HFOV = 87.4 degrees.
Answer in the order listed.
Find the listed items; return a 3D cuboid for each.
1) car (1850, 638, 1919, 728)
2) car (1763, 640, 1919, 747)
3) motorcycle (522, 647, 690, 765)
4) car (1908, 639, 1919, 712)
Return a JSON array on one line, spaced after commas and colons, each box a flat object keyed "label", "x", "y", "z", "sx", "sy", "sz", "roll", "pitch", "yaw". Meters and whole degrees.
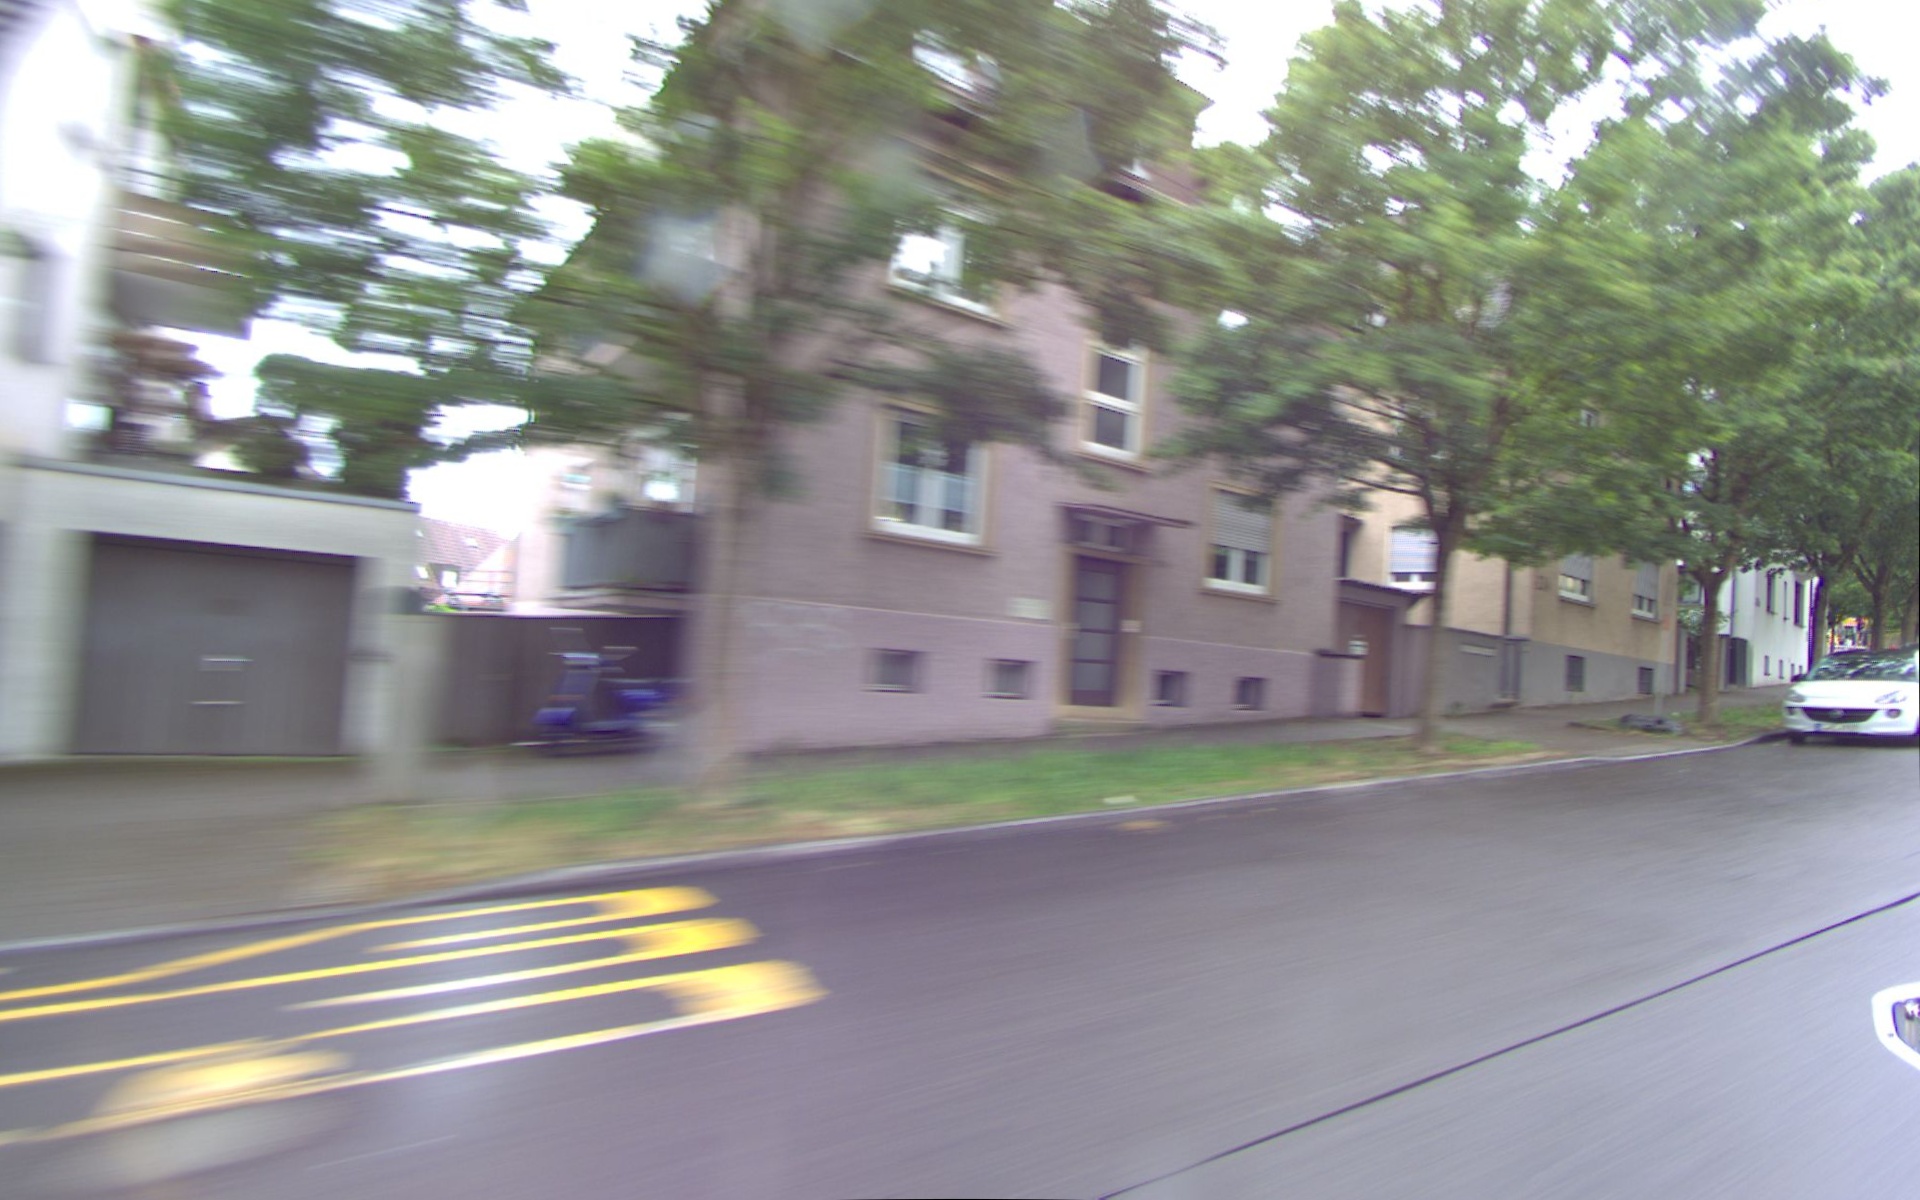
[{"label": "car", "x": 18.816, "y": 1.562, "z": 19.334, "sx": 3.966, "sy": 1.617, "sz": 1.863, "roll": 2, "pitch": -3, "yaw": -39}, {"label": "car", "x": 14.929, "y": 1.450, "z": 16.445, "sx": 3.966, "sy": 1.550, "sz": 1.978, "roll": 2, "pitch": -3, "yaw": -39}, {"label": "motorcycle", "x": -3.939, "y": 1.141, "z": 11.209, "sx": 1.680, "sy": 1.174, "sz": 0.610, "roll": 0, "pitch": 0, "yaw": -33}, {"label": "car", "x": 23.088, "y": 1.700, "z": 22.657, "sx": 3.967, "sy": 1.594, "sz": 1.978, "roll": 3, "pitch": -5, "yaw": -39}]
